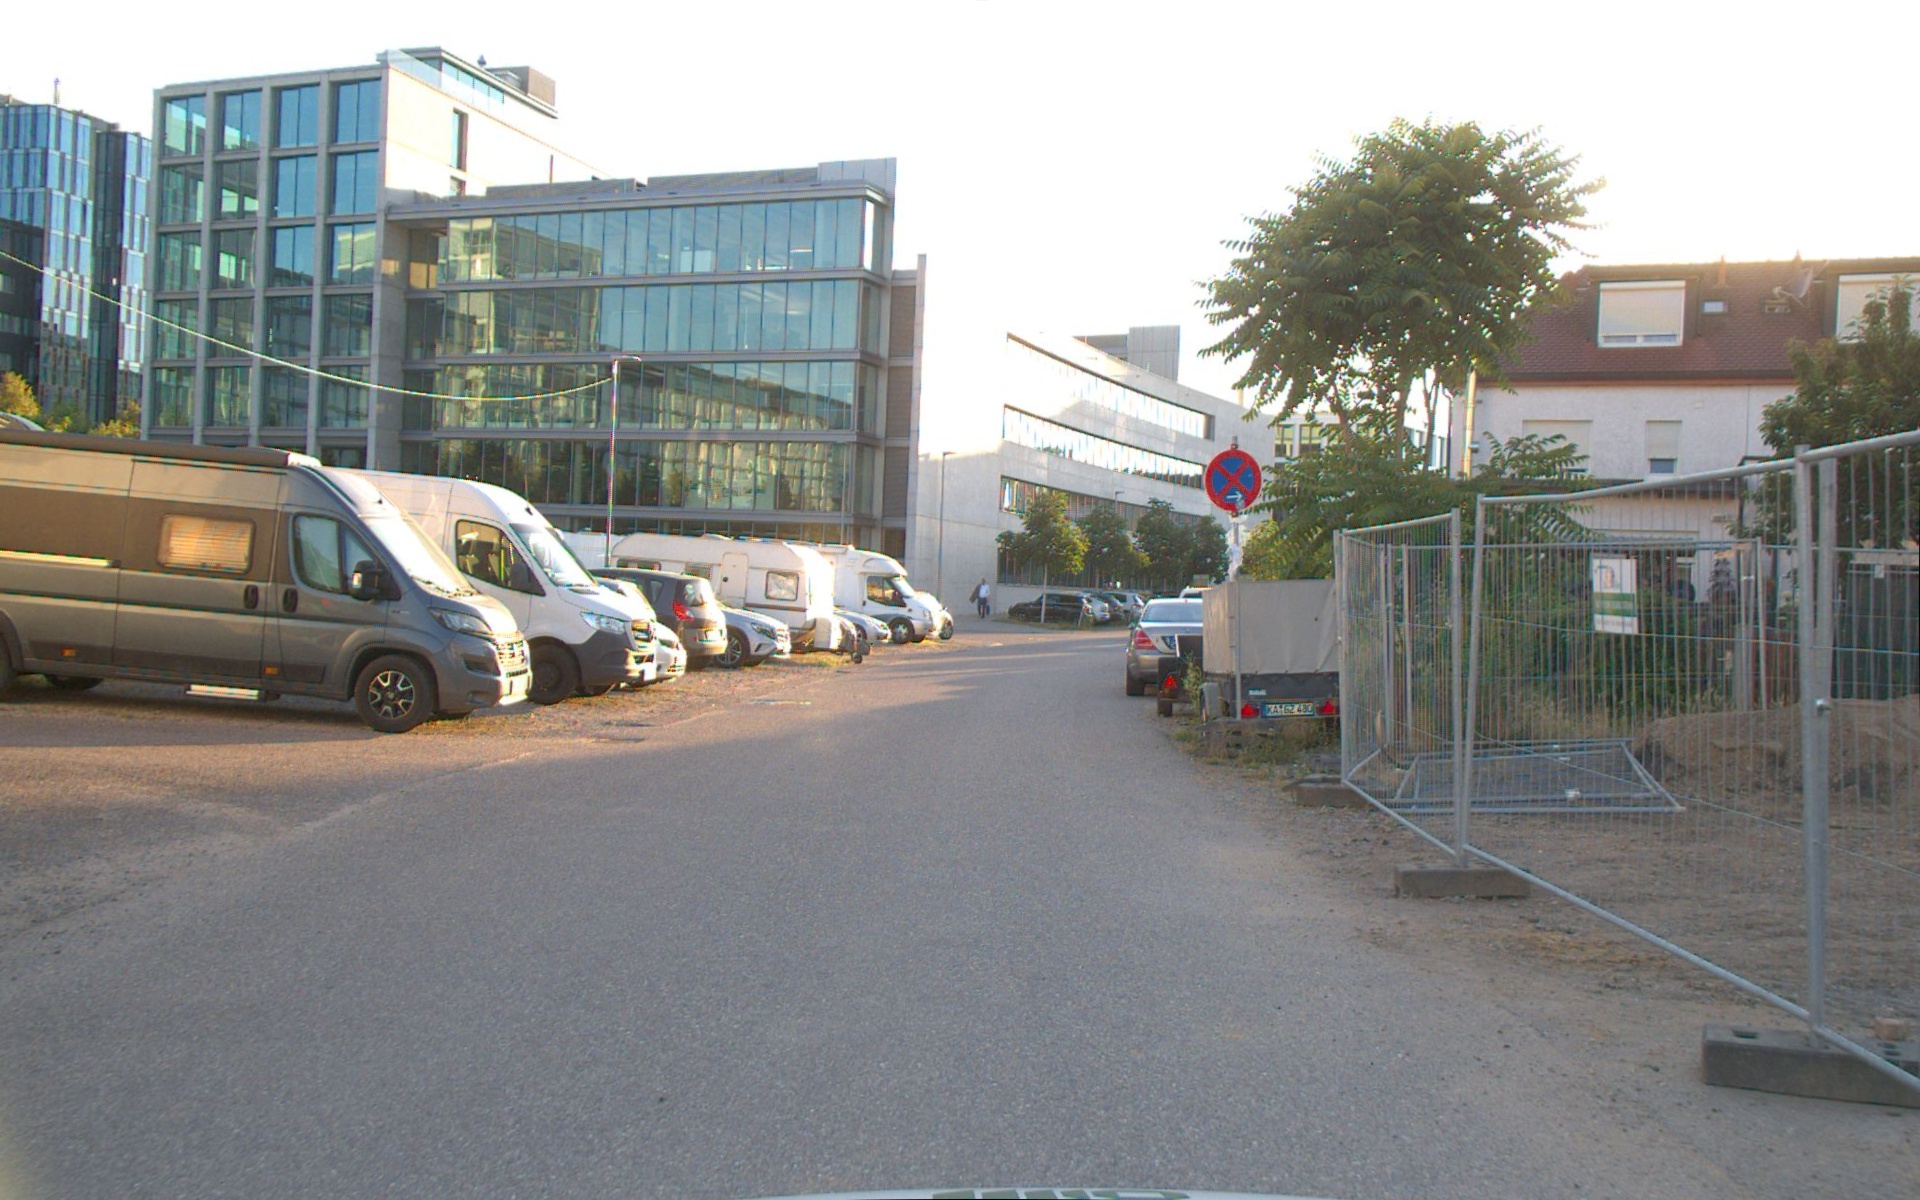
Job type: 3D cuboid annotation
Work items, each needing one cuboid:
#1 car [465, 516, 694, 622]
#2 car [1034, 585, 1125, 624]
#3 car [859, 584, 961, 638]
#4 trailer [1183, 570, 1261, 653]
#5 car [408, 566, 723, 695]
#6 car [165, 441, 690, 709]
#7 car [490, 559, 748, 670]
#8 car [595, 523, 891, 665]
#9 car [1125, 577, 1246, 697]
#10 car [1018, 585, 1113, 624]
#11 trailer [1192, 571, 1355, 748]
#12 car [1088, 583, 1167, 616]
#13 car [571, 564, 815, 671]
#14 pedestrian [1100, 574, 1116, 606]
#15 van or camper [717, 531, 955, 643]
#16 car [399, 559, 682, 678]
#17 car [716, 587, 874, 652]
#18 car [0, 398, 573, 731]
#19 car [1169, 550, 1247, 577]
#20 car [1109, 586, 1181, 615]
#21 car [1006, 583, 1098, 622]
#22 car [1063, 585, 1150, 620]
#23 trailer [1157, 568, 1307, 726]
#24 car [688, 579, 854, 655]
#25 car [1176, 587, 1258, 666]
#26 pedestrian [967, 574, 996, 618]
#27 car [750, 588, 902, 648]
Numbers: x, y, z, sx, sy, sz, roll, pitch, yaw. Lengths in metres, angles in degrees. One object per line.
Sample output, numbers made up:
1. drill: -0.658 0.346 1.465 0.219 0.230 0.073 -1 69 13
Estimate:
1. car: -11.151 -0.906 48.564 6.111 2.719 2.224 3 1 16
2. car: 5.602 0.202 77.492 3.914 1.538 1.586 3 2 15
3. car: -1.545 0.367 52.858 1.652 1.545 4.361 3 0 21
4. trailer: 7.673 0.301 48.103 2.020 2.250 5.227 1 0 11
5. car: -5.456 0.407 23.146 3.843 1.533 1.791 3 0 6
6. car: -6.503 -0.317 20.611 5.705 2.759 2.052 4 1 3
7. car: -5.759 0.227 28.058 3.842 1.618 1.749 3 0 13
8. car: -4.641 -0.175 35.825 5.764 2.577 2.414 4 2 11
9. car: 3.612 0.535 26.858 1.767 1.755 4.932 0 0 7
10. car: 4.824 0.195 75.591 4.000 1.555 1.847 4 1 15
11. trailer: 3.217 0.567 17.316 1.224 1.694 2.803 0 0 1
12. car: 8.863 -0.017 87.505 3.792 1.537 1.760 3 1 22
13. car: -4.939 0.304 30.797 4.039 1.618 1.749 4 1 13
14. pedestrian: 8.535 -0.560 95.410 0.632 1.815 0.725 3 0 22
15. van or camper: -3.696 -0.405 49.641 6.597 2.948 2.411 3 0 11
16. car: -6.517 0.294 25.930 3.843 1.618 1.749 3 -1 5
17. car: -4.177 0.479 42.118 3.647 1.391 1.707 3 1 7
18. car: -7.322 -0.367 16.487 6.260 2.760 2.112 4 -1 -2
19. car: 15.141 -2.257 101.034 4.349 1.489 1.761 2 1 28
20. car: 10.328 0.030 92.456 3.627 1.483 1.711 3 0 23
21. car: 4.068 0.087 72.831 3.656 1.507 1.771 3 2 16
22. car: 7.317 0.104 82.447 3.906 1.537 1.760 3 1 22
23. trailer: 3.427 0.527 21.549 1.694 1.808 4.941 0 0 7
24. car: -4.462 0.386 39.299 3.552 1.545 1.707 3 1 7
25. car: 6.562 0.619 41.885 1.733 1.863 4.412 1 1 13
26. pedestrian: 0.939 -0.158 71.478 0.892 1.882 0.845 1 1 -37
27. car: -3.567 0.460 44.323 3.727 1.351 1.694 3 1 8
